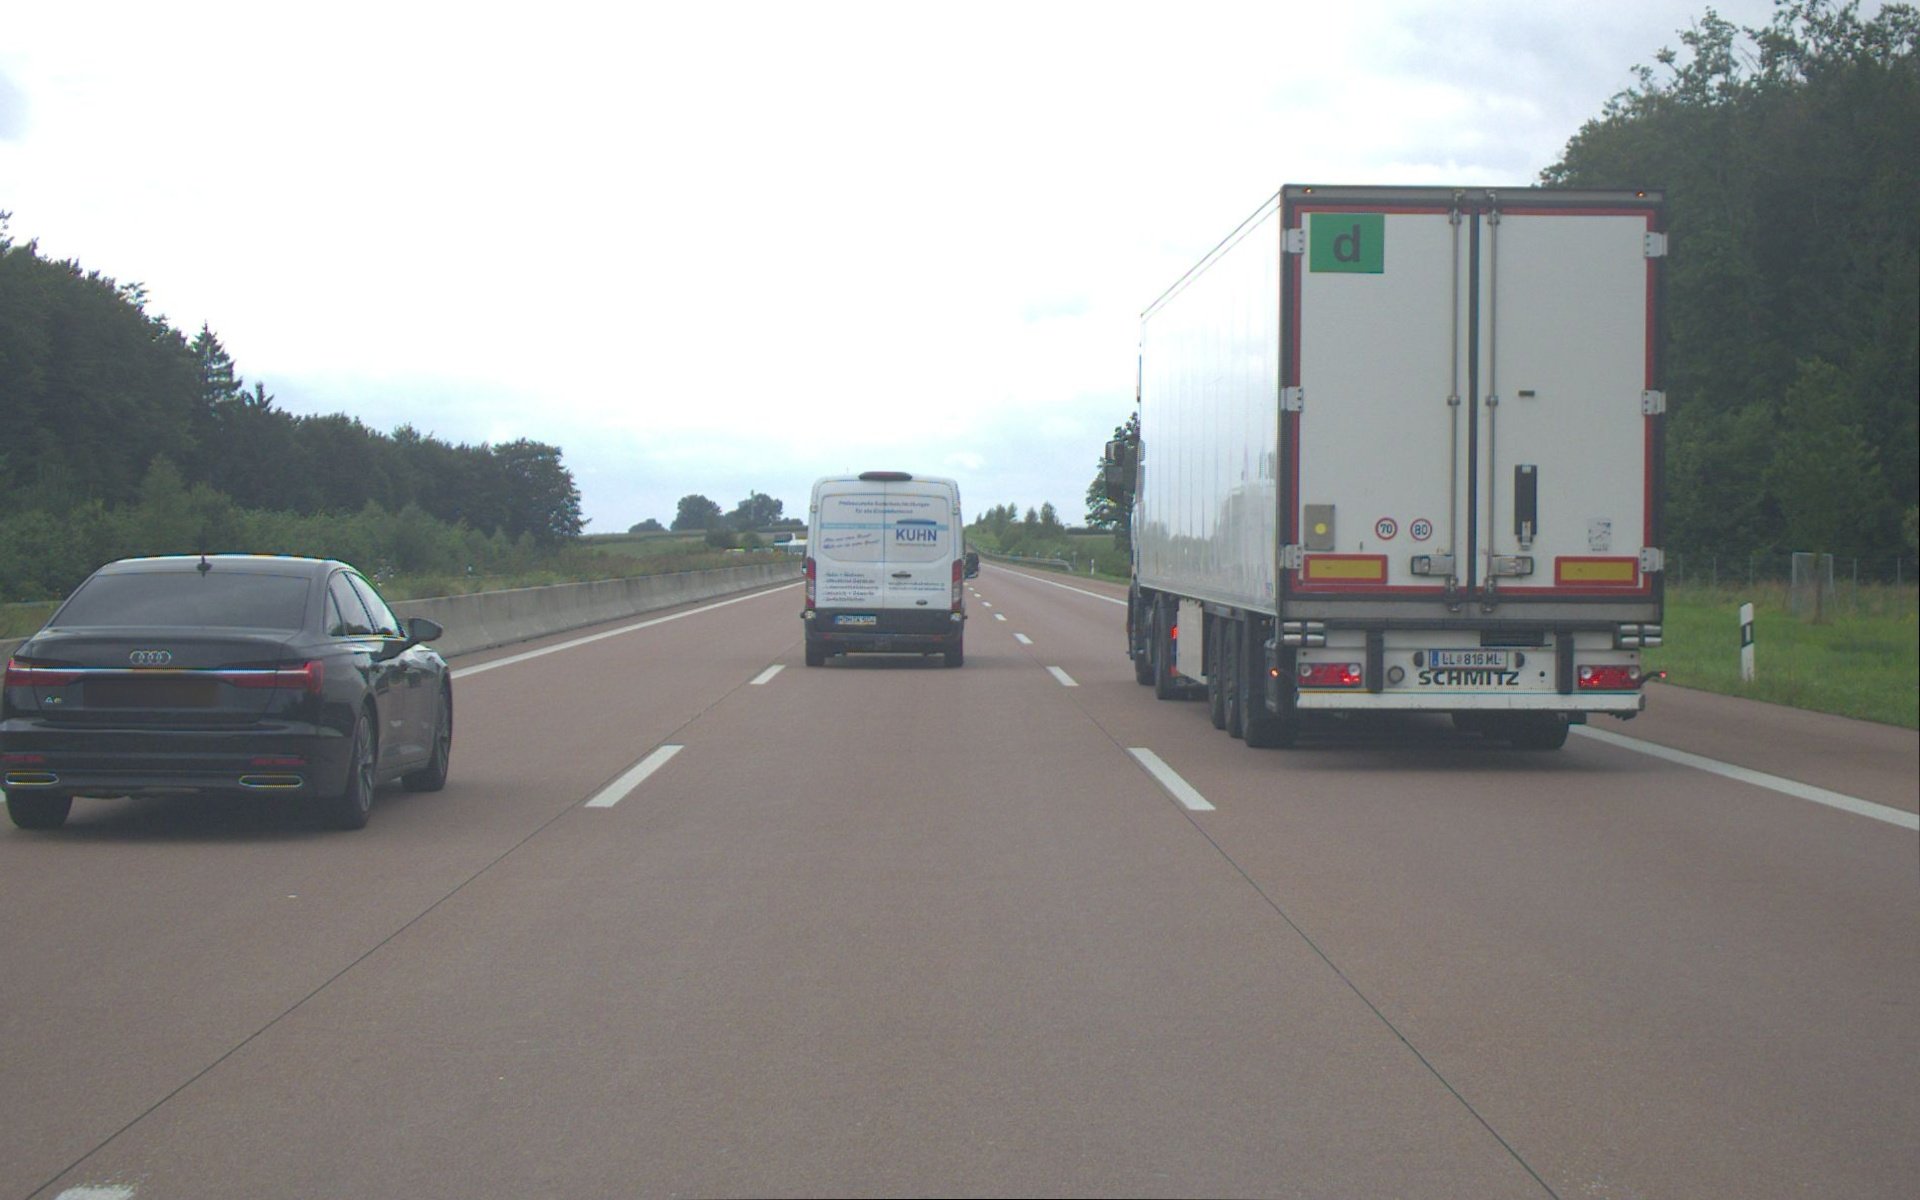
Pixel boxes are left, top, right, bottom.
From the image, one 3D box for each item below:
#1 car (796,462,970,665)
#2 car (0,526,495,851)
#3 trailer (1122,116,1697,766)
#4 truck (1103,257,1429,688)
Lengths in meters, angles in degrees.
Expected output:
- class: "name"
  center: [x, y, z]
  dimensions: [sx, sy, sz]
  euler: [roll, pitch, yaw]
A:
- class: "car"
  center: [-0.960, -0.538, 45.924]
  dimensions: [2.137, 2.498, 7.132]
  euler: [0, 1, 0]
- class: "car"
  center: [-4.053, 0.371, 19.661]
  dimensions: [2.085, 1.545, 5.675]
  euler: [1, 1, -1]
- class: "trailer"
  center: [3.288, -1.157, 29.515]
  dimensions: [2.921, 4.279, 13.615]
  euler: [0, 1, -1]
- class: "truck"
  center: [3.163, -1.309, 36.914]
  dimensions: [2.921, 4.279, 5.335]
  euler: [0, 1, -1]
